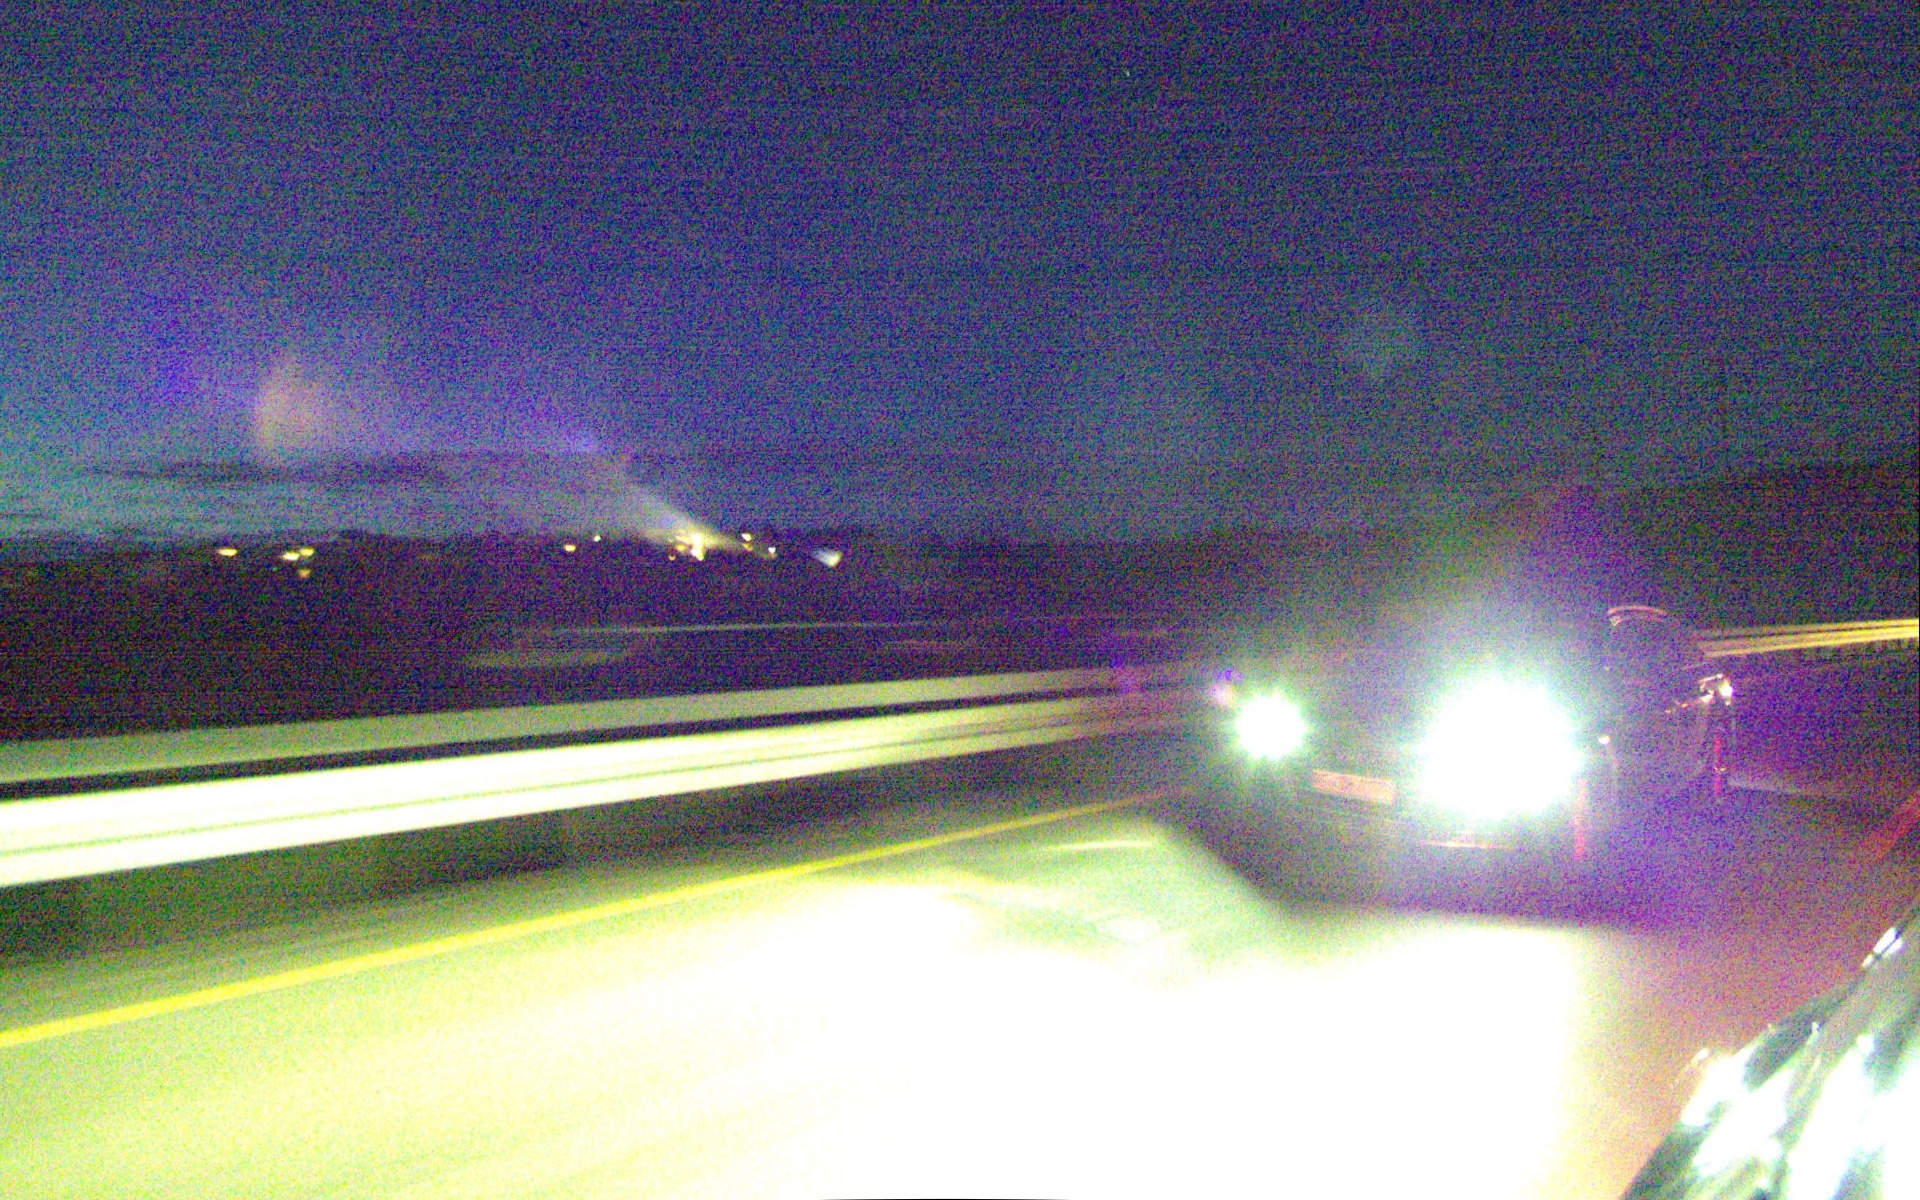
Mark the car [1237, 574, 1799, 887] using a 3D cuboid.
[{"bbox_3d":[4.120,0.618,7.047,4.788,1.444,1.812,0,2,-40],"label":"car"}]
